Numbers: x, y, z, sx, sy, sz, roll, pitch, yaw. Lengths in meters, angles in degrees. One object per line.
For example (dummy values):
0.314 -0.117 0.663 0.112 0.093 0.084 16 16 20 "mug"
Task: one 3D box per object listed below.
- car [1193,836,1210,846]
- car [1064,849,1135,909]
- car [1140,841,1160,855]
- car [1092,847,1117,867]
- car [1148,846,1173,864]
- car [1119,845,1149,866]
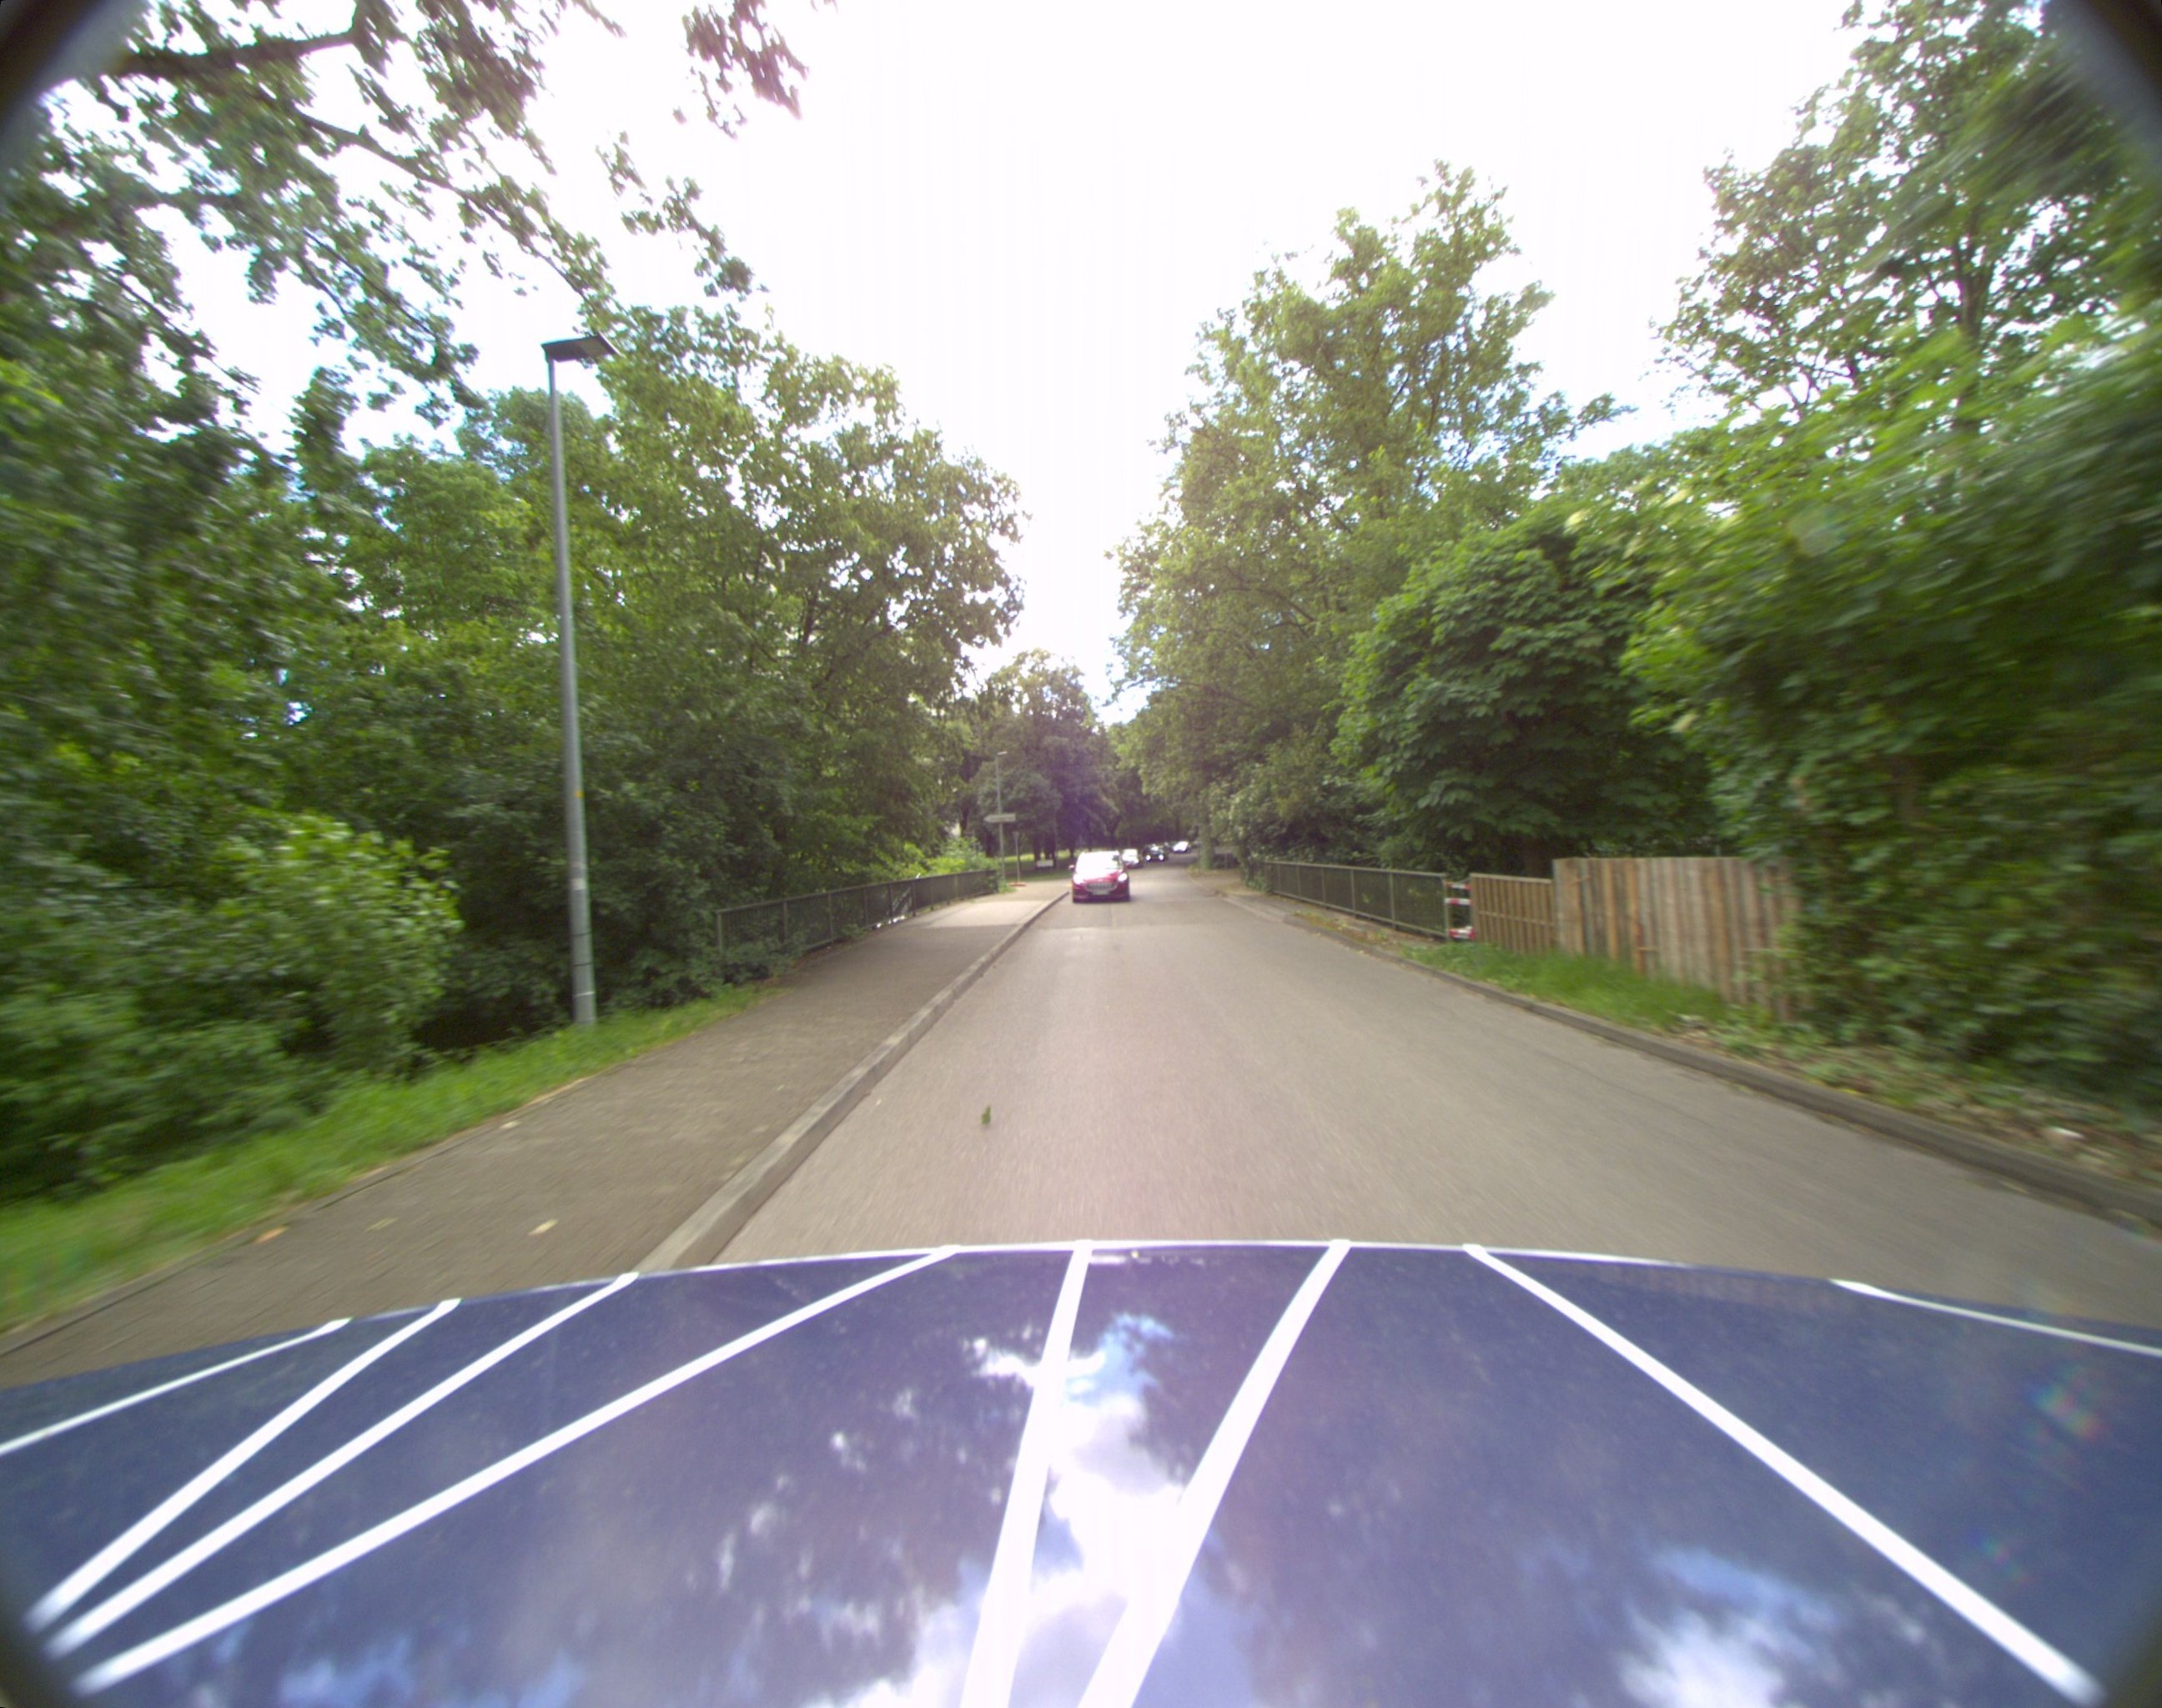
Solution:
19.596 -2.138 123.354 1.690 1.474 4.112 -3 1 24 "car"
0.720 0.727 25.069 2.003 1.599 4.678 -4 1 5 "car"
8.667 -0.769 95.671 1.684 1.456 3.901 -3 1 16 "car"
2.136 0.252 67.227 1.777 1.514 3.782 -3 1 7 "car"
8.389 0.089 80.118 1.766 1.559 4.049 -3 1 17 "car"
4.447 0.120 63.768 1.653 1.559 4.049 -3 1 15 "car"
